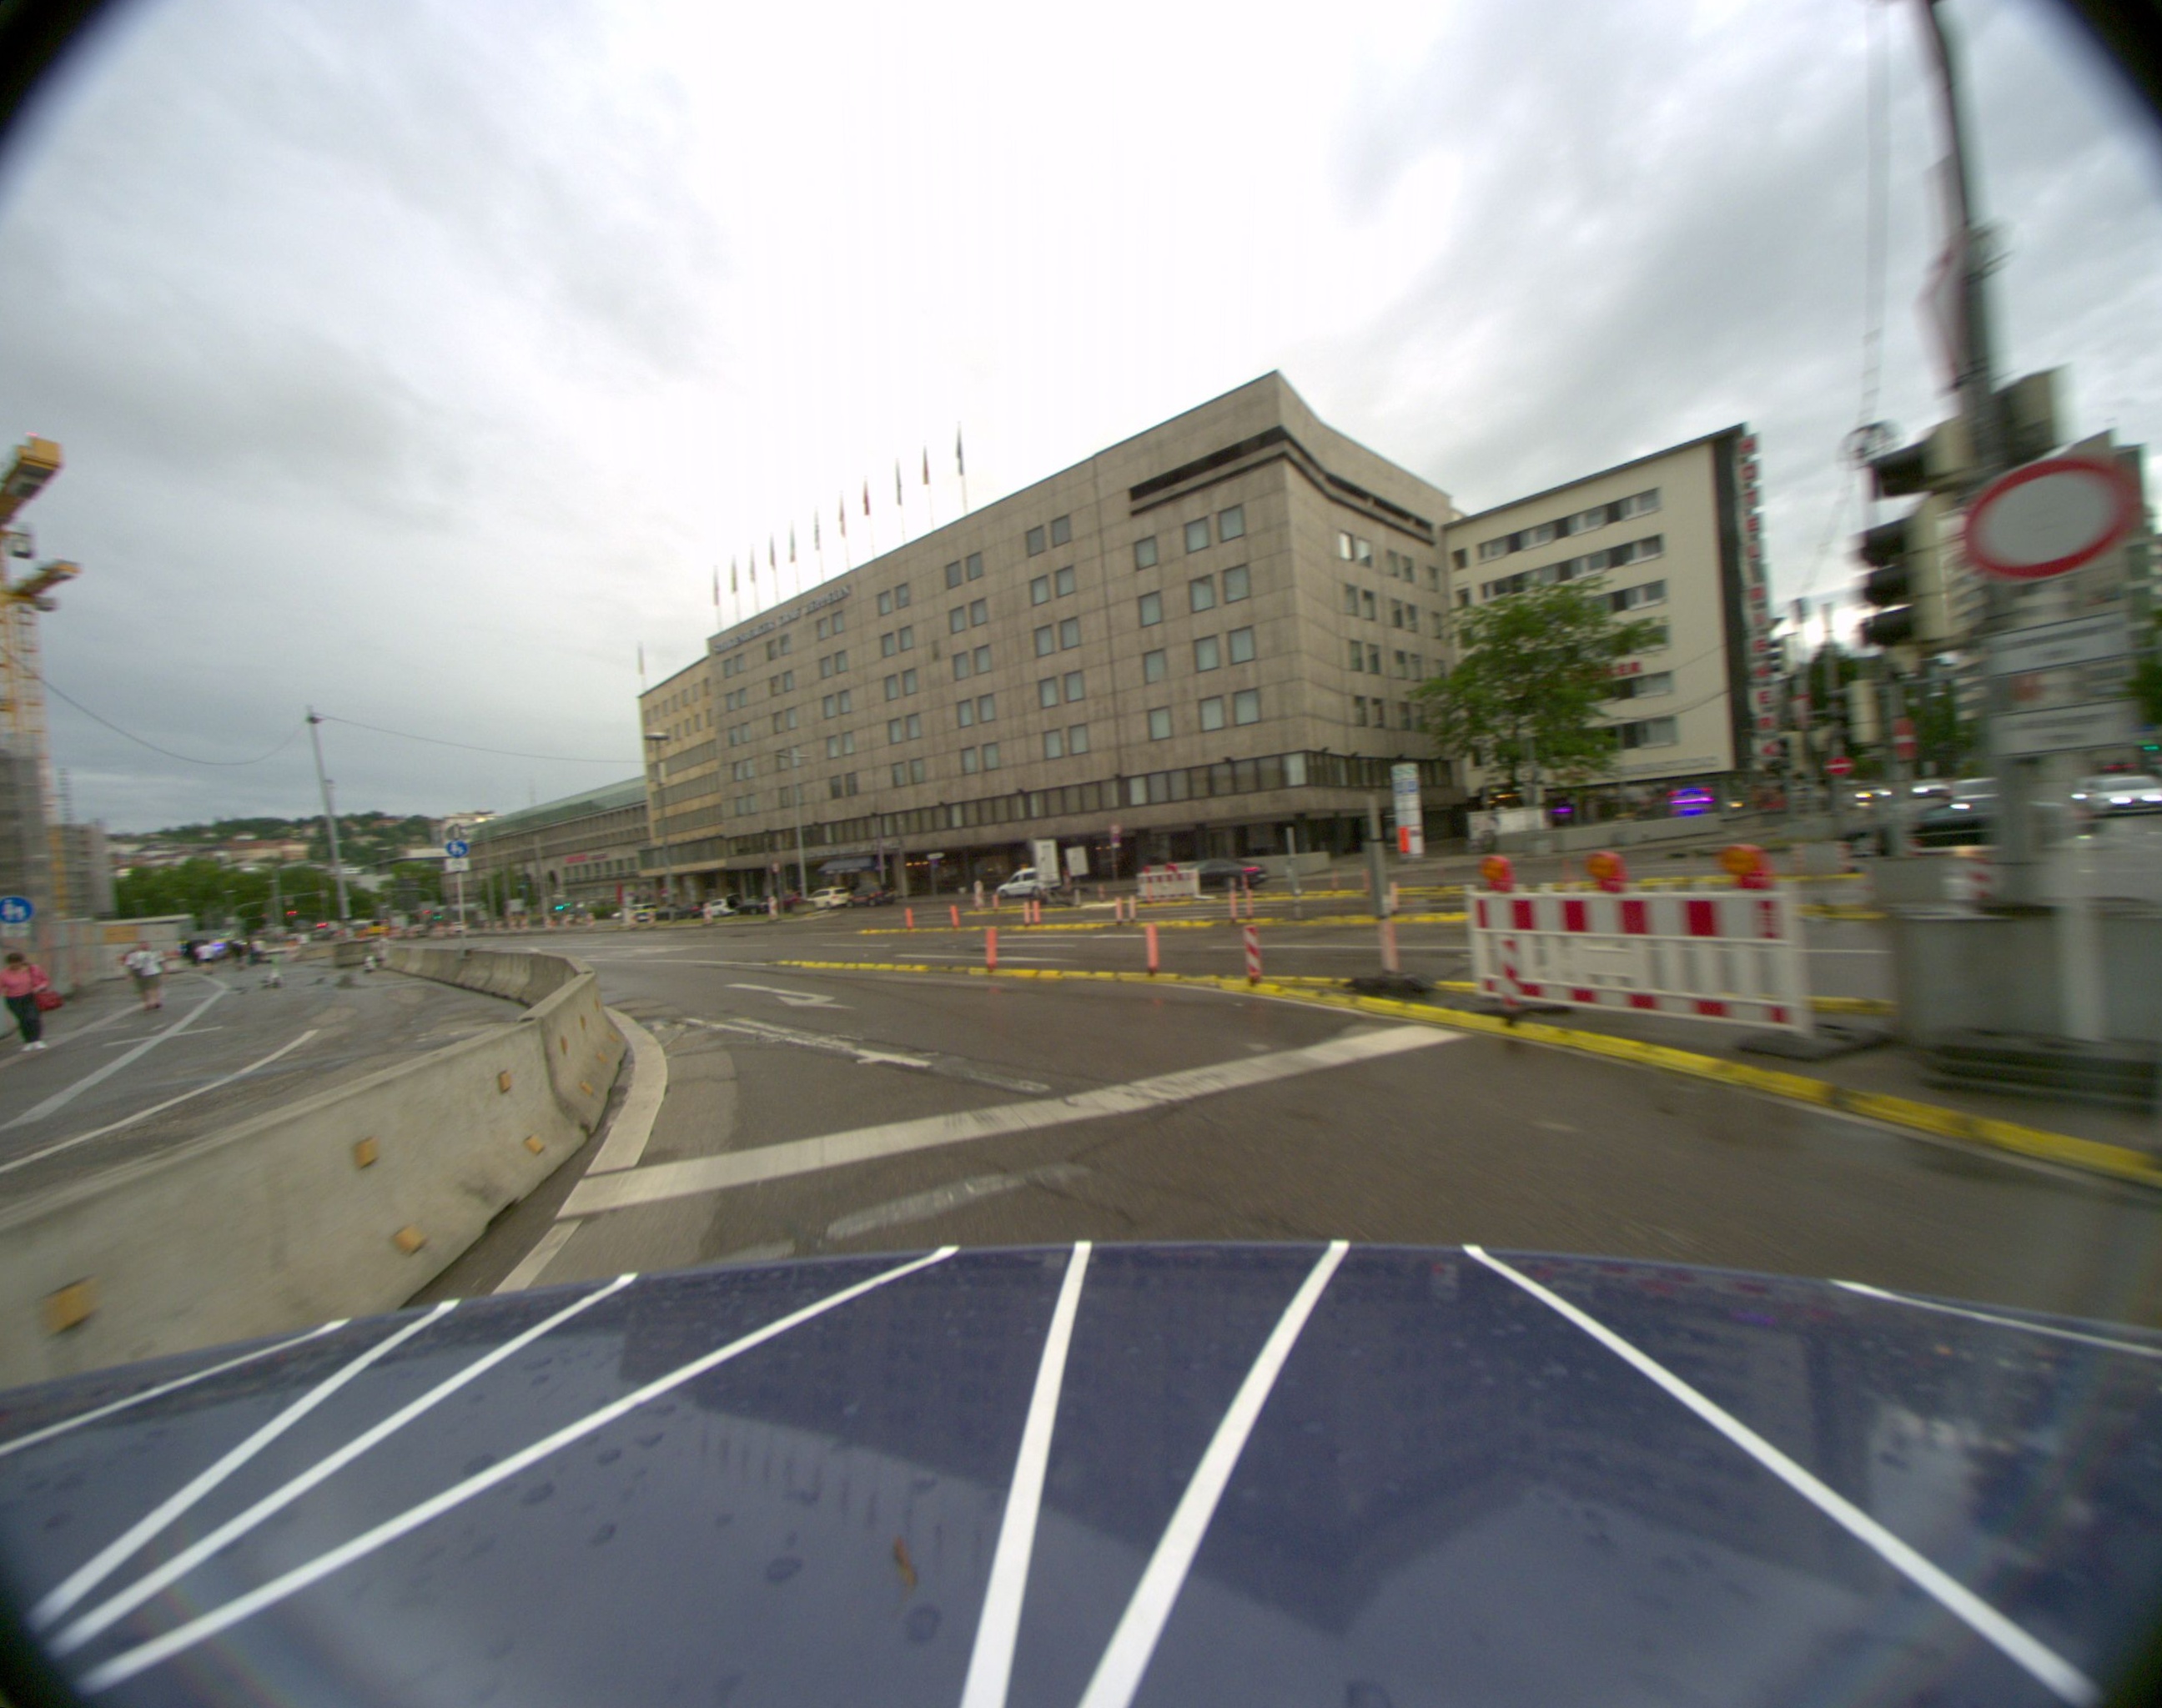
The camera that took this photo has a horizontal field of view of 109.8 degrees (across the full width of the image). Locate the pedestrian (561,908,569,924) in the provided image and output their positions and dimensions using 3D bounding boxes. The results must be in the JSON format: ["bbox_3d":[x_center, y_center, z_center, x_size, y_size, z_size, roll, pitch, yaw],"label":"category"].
[{"bbox_3d":[-66.162,7.936,97.428,0.750,1.913,0.592,-5,0,37],"label":"pedestrian"}]

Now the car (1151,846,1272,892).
[{"bbox_3d":[5.505,0.664,32.468,4.652,1.589,2.022,-6,-1,43],"label":"car"}]

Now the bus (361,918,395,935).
[{"bbox_3d":[-143.959,14.797,155.551,9.799,2.923,2.916,-5,0,35],"label":"bus"}]

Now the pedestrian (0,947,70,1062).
[{"bbox_3d":[-18.460,2.611,13.328,0.707,1.855,0.723,-5,0,40],"label":"pedestrian"}]

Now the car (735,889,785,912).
[{"bbox_3d":[-28.306,4.144,67.005,4.605,1.649,1.912,-6,0,38],"label":"car"}]

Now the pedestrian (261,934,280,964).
[{"bbox_3d":[-56.973,6.678,53.410,0.969,2.004,0.807,-5,0,43],"label":"pedestrian"}]

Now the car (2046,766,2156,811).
[{"bbox_3d":[44.587,-2.841,33.342,2.013,1.589,4.671,-5,-1,43],"label":"car"}]

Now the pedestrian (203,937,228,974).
[{"bbox_3d":[-43.751,5.116,38.410,0.905,1.730,0.687,-6,0,40],"label":"pedestrian"}]

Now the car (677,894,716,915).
[{"bbox_3d":[-37.508,4.925,74.062,4.218,1.671,1.763,-6,-1,41],"label":"car"}]

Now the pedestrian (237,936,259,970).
[{"bbox_3d":[-45.148,5.376,41.176,0.835,1.730,0.646,-5,0,41],"label":"pedestrian"}]

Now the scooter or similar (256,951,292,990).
[{"bbox_3d":[-26.334,3.813,24.789,1.412,1.176,0.469,-6,0,32],"label":"scooter or similar"}]

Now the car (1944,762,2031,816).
[{"bbox_3d":[38.349,-2.749,32.266,5.093,1.893,2.083,-5,0,-42],"label":"car"}]

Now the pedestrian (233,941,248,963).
[{"bbox_3d":[-78.604,9.150,71.063,0.790,2.000,0.863,-5,0,-43],"label":"pedestrian"}]

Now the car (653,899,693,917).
[{"bbox_3d":[-41.665,5.524,77.536,4.554,1.612,1.763,-5,0,37],"label":"car"}]

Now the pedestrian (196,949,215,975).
[{"bbox_3d":[-68.845,8.479,59.748,0.660,1.884,0.852,-5,0,43],"label":"pedestrian"}]

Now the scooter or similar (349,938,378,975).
[{"bbox_3d":[-26.283,3.751,27.844,0.678,1.207,1.568,-5,0,-43],"label":"scooter or similar"}]

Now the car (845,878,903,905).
[{"bbox_3d":[-15.561,2.839,56.922,4.503,1.717,1.825,-5,0,40],"label":"car"}]

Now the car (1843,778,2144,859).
[{"bbox_3d":[23.432,-0.837,19.759,2.021,1.589,4.654,-5,0,-29],"label":"car"}]

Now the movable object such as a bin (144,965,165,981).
[{"bbox_3d":[-46.579,5.978,38.217,0.776,0.730,0.600,-6,-1,41],"label":"movable object such as a bin"}]

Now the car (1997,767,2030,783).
[{"bbox_3d":[118.436,-10.036,96.549,1.847,1.589,4.188,-5,0,40],"label":"car"}]

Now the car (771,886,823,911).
[{"bbox_3d":[-23.789,3.697,63.524,4.635,1.757,1.911,-5,0,40],"label":"car"}]

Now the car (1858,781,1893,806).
[{"bbox_3d":[72.126,-5.515,68.938,4.007,2.002,1.920,-4,0,-41],"label":"car"}]

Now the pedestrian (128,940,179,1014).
[{"bbox_3d":[-25.227,3.325,20.678,0.988,1.855,0.707,-6,0,42],"label":"pedestrian"}]

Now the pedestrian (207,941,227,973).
[{"bbox_3d":[-53.687,6.373,47.188,0.692,1.878,0.687,-5,0,40],"label":"pedestrian"}]

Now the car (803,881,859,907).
[{"bbox_3d":[-19.798,3.158,60.168,4.567,1.688,1.825,-5,0,38],"label":"car"}]

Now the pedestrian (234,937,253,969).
[{"bbox_3d":[-51.888,6.125,47.086,0.692,1.878,0.687,-5,0,43],"label":"pedestrian"}]

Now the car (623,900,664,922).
[{"bbox_3d":[-47.532,6.221,82.425,5.063,1.917,1.910,-7,-2,37],"label":"car"}]

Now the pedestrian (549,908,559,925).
[{"bbox_3d":[-67.992,8.070,97.995,0.805,2.002,0.707,-5,0,38],"label":"pedestrian"}]

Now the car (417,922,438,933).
[{"bbox_3d":[-107.023,12.045,124.376,4.489,1.659,1.783,-6,-1,39],"label":"car"}]

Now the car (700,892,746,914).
[{"bbox_3d":[-33.323,4.551,70.743,4.699,1.747,1.763,-5,0,37],"label":"car"}]

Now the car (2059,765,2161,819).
[{"bbox_3d":[39.671,-2.378,29.147,4.671,1.728,2.013,-5,-1,-44],"label":"car"}]

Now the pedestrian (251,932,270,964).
[{"bbox_3d":[-51.401,5.874,47.584,0.692,1.878,0.687,-5,0,43],"label":"pedestrian"}]

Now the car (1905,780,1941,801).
[{"bbox_3d":[70.264,-5.268,63.441,1.778,1.475,3.491,-5,-1,45],"label":"car"}]

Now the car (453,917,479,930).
[{"bbox_3d":[-91.509,10.343,113.011,4.489,1.659,1.833,-6,0,37],"label":"car"}]

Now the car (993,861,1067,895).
[{"bbox_3d":[-3.211,1.531,47.361,4.361,1.752,1.783,-6,0,38],"label":"car"}]

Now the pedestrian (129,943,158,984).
[{"bbox_3d":[-46.590,5.433,37.772,0.652,1.884,0.771,-5,0,43],"label":"pedestrian"}]

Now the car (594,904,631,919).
[{"bbox_3d":[-66.938,8.177,108.527,1.802,1.630,4.101,-5,0,43],"label":"car"}]
